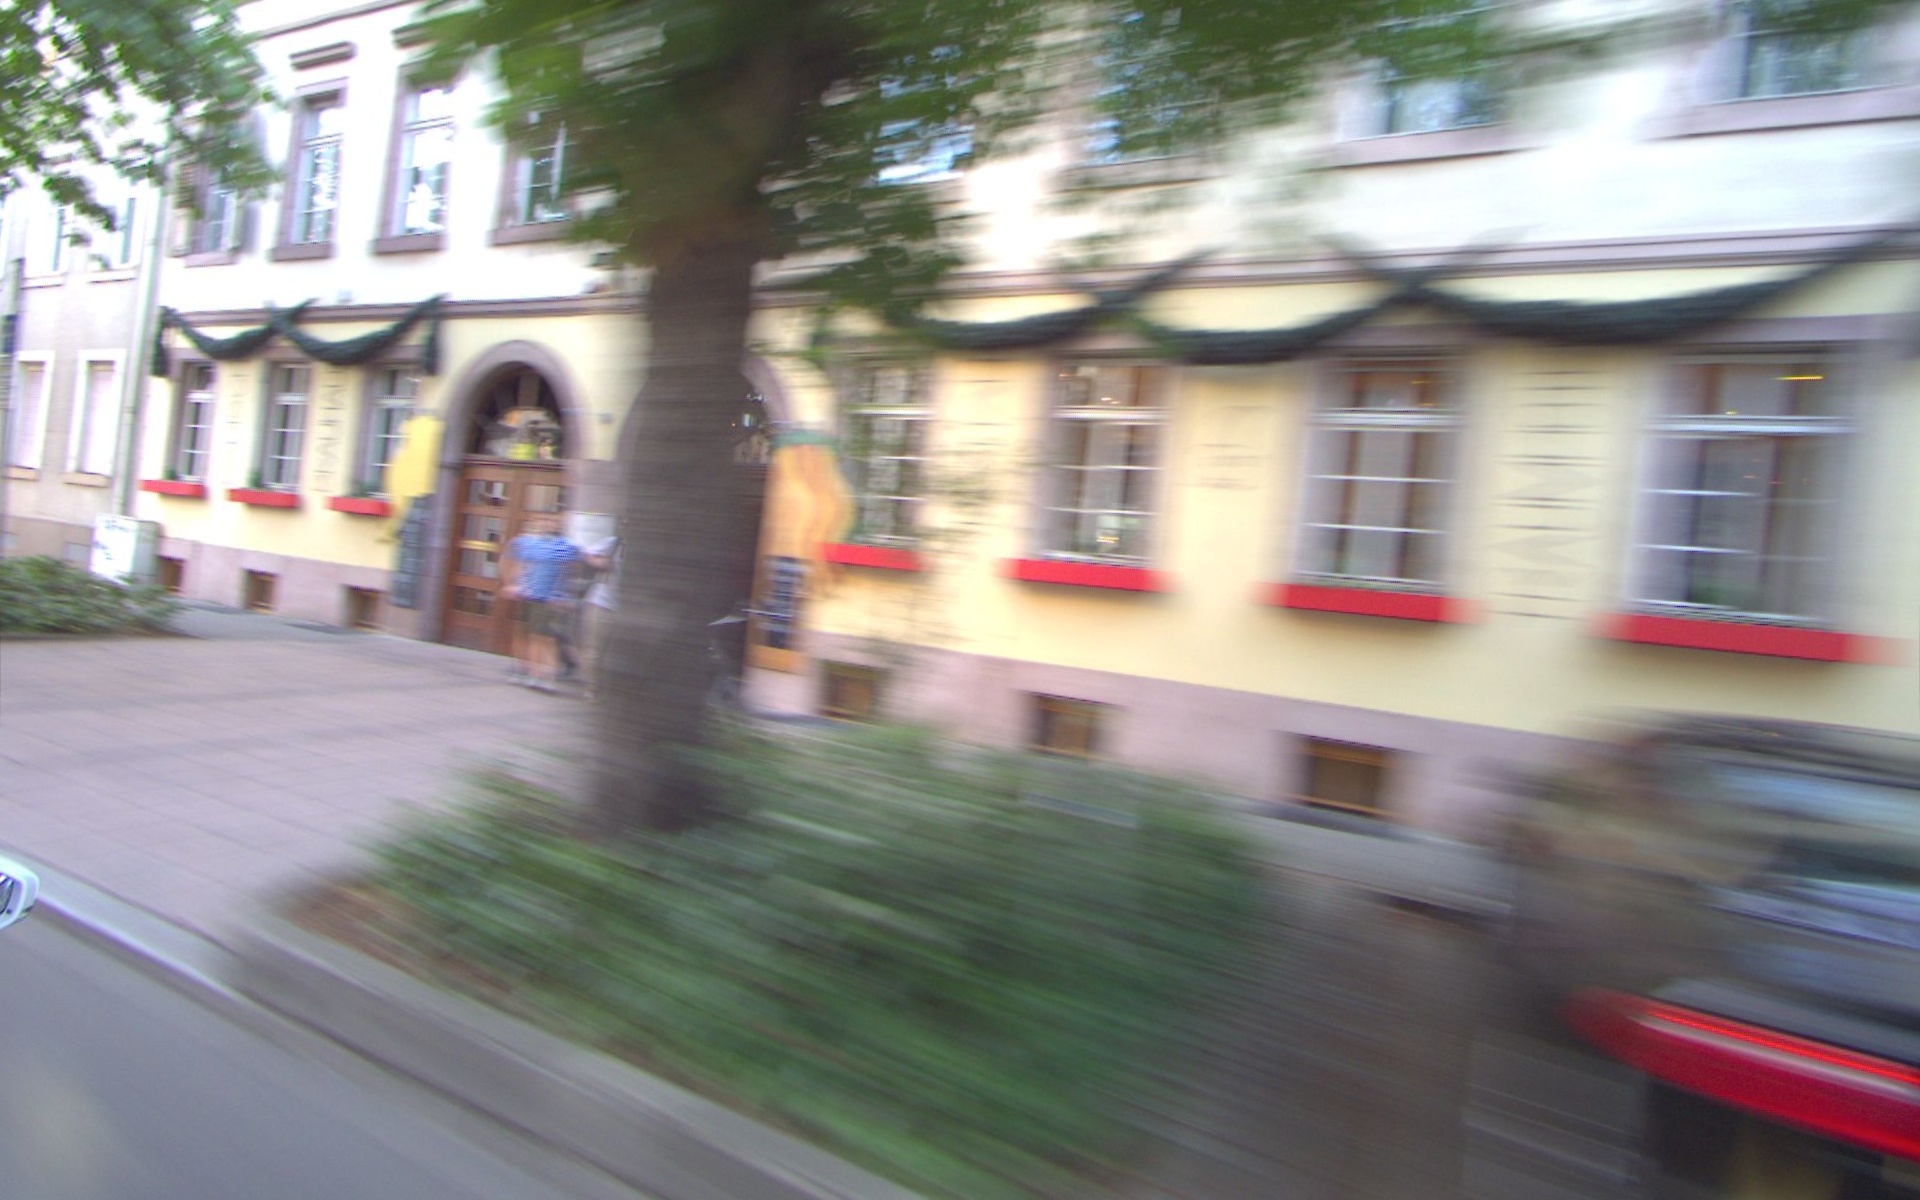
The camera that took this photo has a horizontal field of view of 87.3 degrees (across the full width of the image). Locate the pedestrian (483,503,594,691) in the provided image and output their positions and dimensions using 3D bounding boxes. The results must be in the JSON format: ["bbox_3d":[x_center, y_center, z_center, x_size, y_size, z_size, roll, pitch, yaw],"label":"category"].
[{"bbox_3d":[-4.188,-0.028,10.007,0.612,1.761,0.616,8,2,26],"label":"pedestrian"}]

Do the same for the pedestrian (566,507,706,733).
[{"bbox_3d":[-2.724,0.163,8.518,0.712,1.761,0.708,7,2,9],"label":"pedestrian"}]

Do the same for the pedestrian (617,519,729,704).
[{"bbox_3d":[-2.921,0.115,10.230,0.721,1.761,0.737,5,3,-37],"label":"pedestrian"}]

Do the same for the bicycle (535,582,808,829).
[{"bbox_3d":[-1.698,0.569,6.266,0.660,1.249,1.799,6,2,17],"label":"bicycle"}]

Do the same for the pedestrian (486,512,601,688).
[{"bbox_3d":[-4.473,-0.001,10.832,0.671,1.761,0.779,7,2,11],"label":"pedestrian"}]

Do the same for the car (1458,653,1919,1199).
[{"bbox_3d":[2.803,1.063,3.247,1.852,1.412,4.407,6,2,24],"label":"car"}]

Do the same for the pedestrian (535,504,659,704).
[{"bbox_3d":[-3.423,0.039,9.474,0.709,1.761,0.738,5,3,-44],"label":"pedestrian"}]
